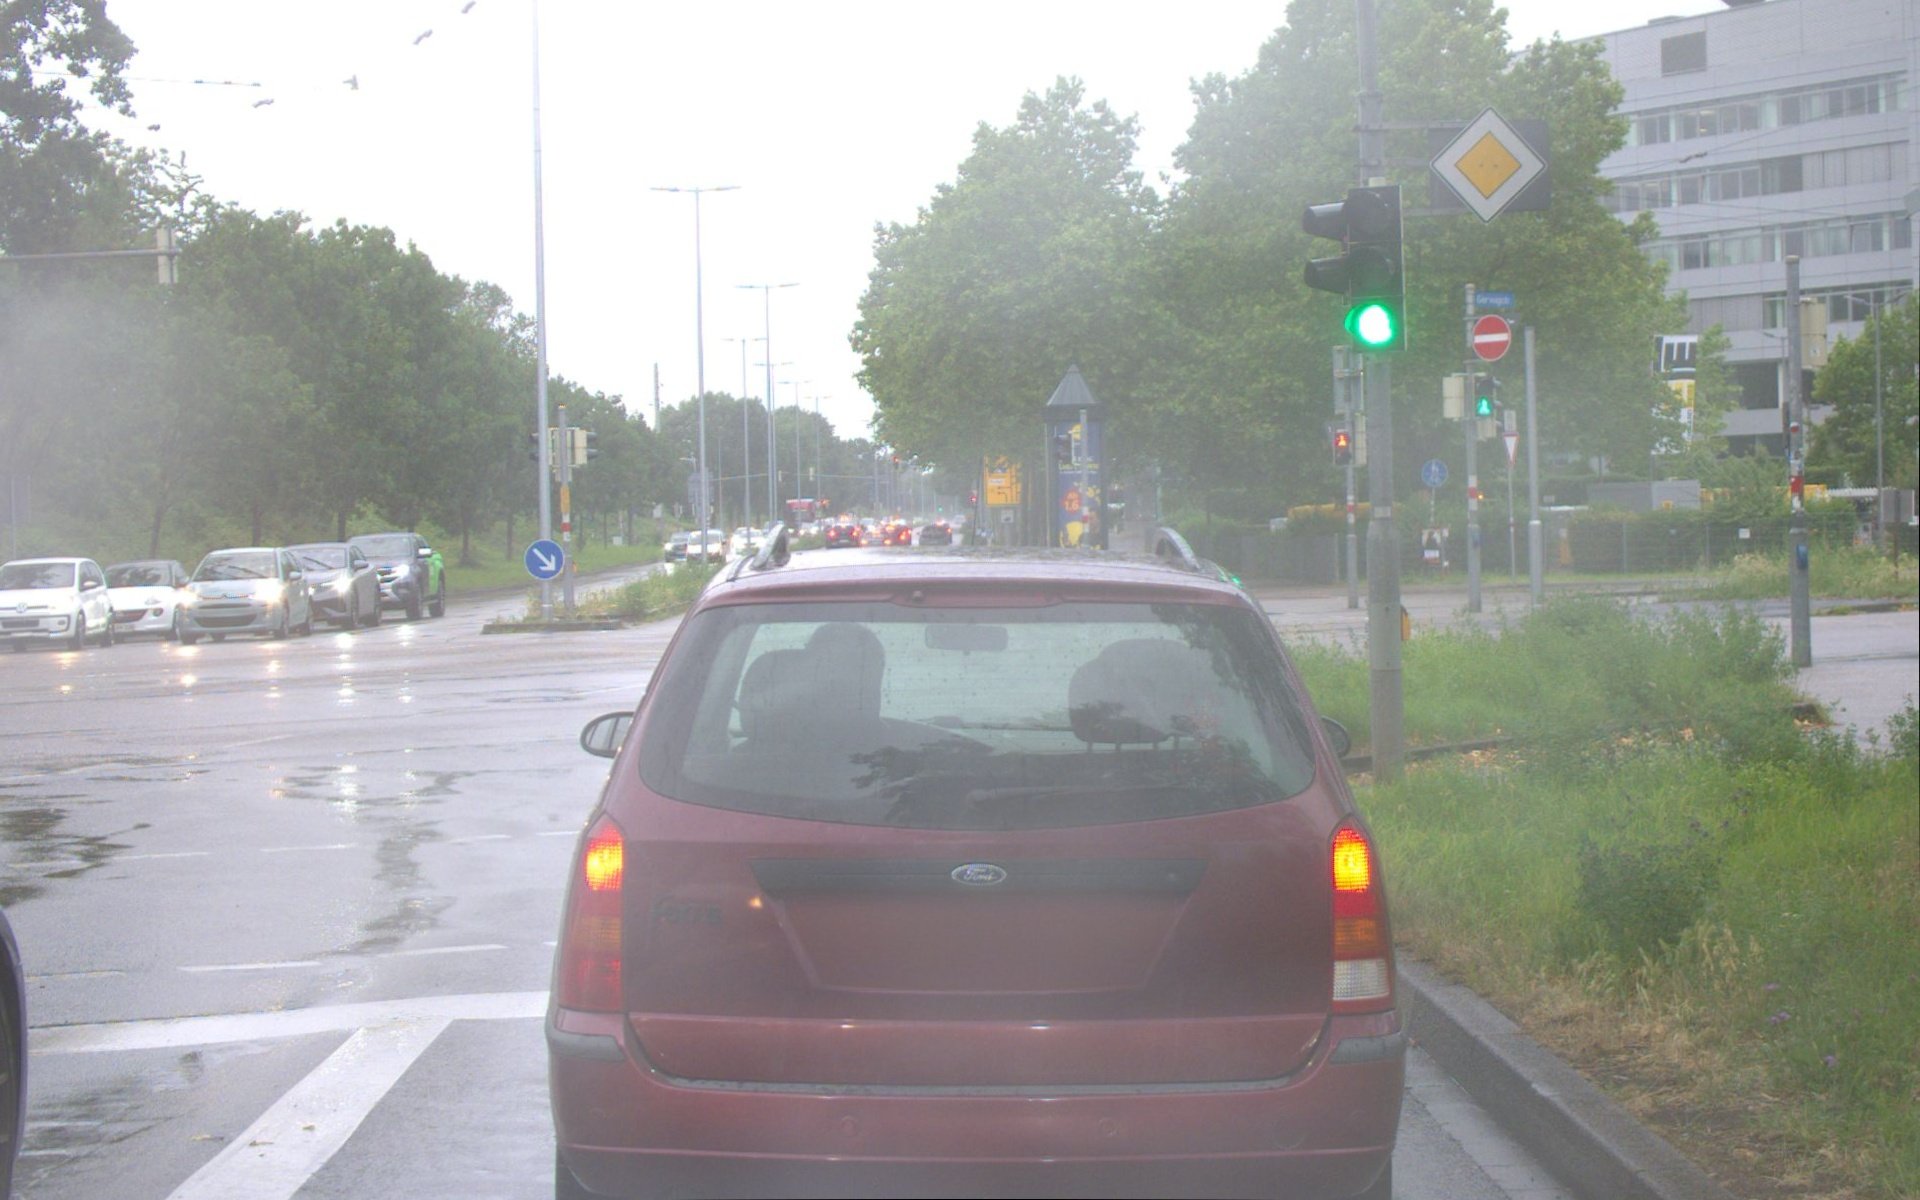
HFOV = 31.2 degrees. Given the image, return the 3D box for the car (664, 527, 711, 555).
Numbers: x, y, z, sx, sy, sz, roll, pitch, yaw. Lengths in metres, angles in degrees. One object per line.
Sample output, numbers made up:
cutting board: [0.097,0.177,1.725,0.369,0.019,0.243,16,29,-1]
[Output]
car: [-15.005,-3.253,189.241,2.094,1.522,4.192,-1,1,2]

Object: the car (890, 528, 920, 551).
car: [-3.685,-4.065,230.477,1.671,1.522,3.845,-1,1,4]

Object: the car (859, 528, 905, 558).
car: [-4.045,-2.971,178.645,2.147,1.522,4.192,-1,1,2]

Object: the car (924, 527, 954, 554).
car: [-1.235,-3.518,202.797,1.671,1.522,3.846,-1,1,1]

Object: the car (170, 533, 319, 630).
car: [-11.636,-0.335,56.157,1.638,1.468,3.965,-2,1,-1]

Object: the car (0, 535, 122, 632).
car: [-14.636,-0.282,55.053,1.638,1.447,3.788,-2,1,-3]

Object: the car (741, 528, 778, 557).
car: [-12.104,-3.498,208.061,1.963,1.696,4.284,-2,1,-1]

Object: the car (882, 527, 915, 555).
car: [-3.478,-3.352,194.192,1.698,1.522,3.846,-1,1,1]

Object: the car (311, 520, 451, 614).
car: [-11.974,-0.722,71.404,2.065,1.813,5.542,-2,1,-2]

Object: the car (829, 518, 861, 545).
car: [-6.764,-4.052,202.609,1.698,1.522,3.846,-1,1,1]

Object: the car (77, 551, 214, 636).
car: [-14.513,-0.141,61.443,1.590,1.399,3.823,-2,1,-2]

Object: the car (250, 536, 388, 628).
car: [-11.748,-0.343,63.276,1.762,1.580,4.814,-2,1,-2]

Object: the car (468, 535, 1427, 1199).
car: [-0.073,0.602,7.811,1.642,1.460,3.733,1,1,-2]

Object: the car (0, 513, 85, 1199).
car: [-2.690,0.645,4.889,1.769,1.568,4.822,1,1,-2]
